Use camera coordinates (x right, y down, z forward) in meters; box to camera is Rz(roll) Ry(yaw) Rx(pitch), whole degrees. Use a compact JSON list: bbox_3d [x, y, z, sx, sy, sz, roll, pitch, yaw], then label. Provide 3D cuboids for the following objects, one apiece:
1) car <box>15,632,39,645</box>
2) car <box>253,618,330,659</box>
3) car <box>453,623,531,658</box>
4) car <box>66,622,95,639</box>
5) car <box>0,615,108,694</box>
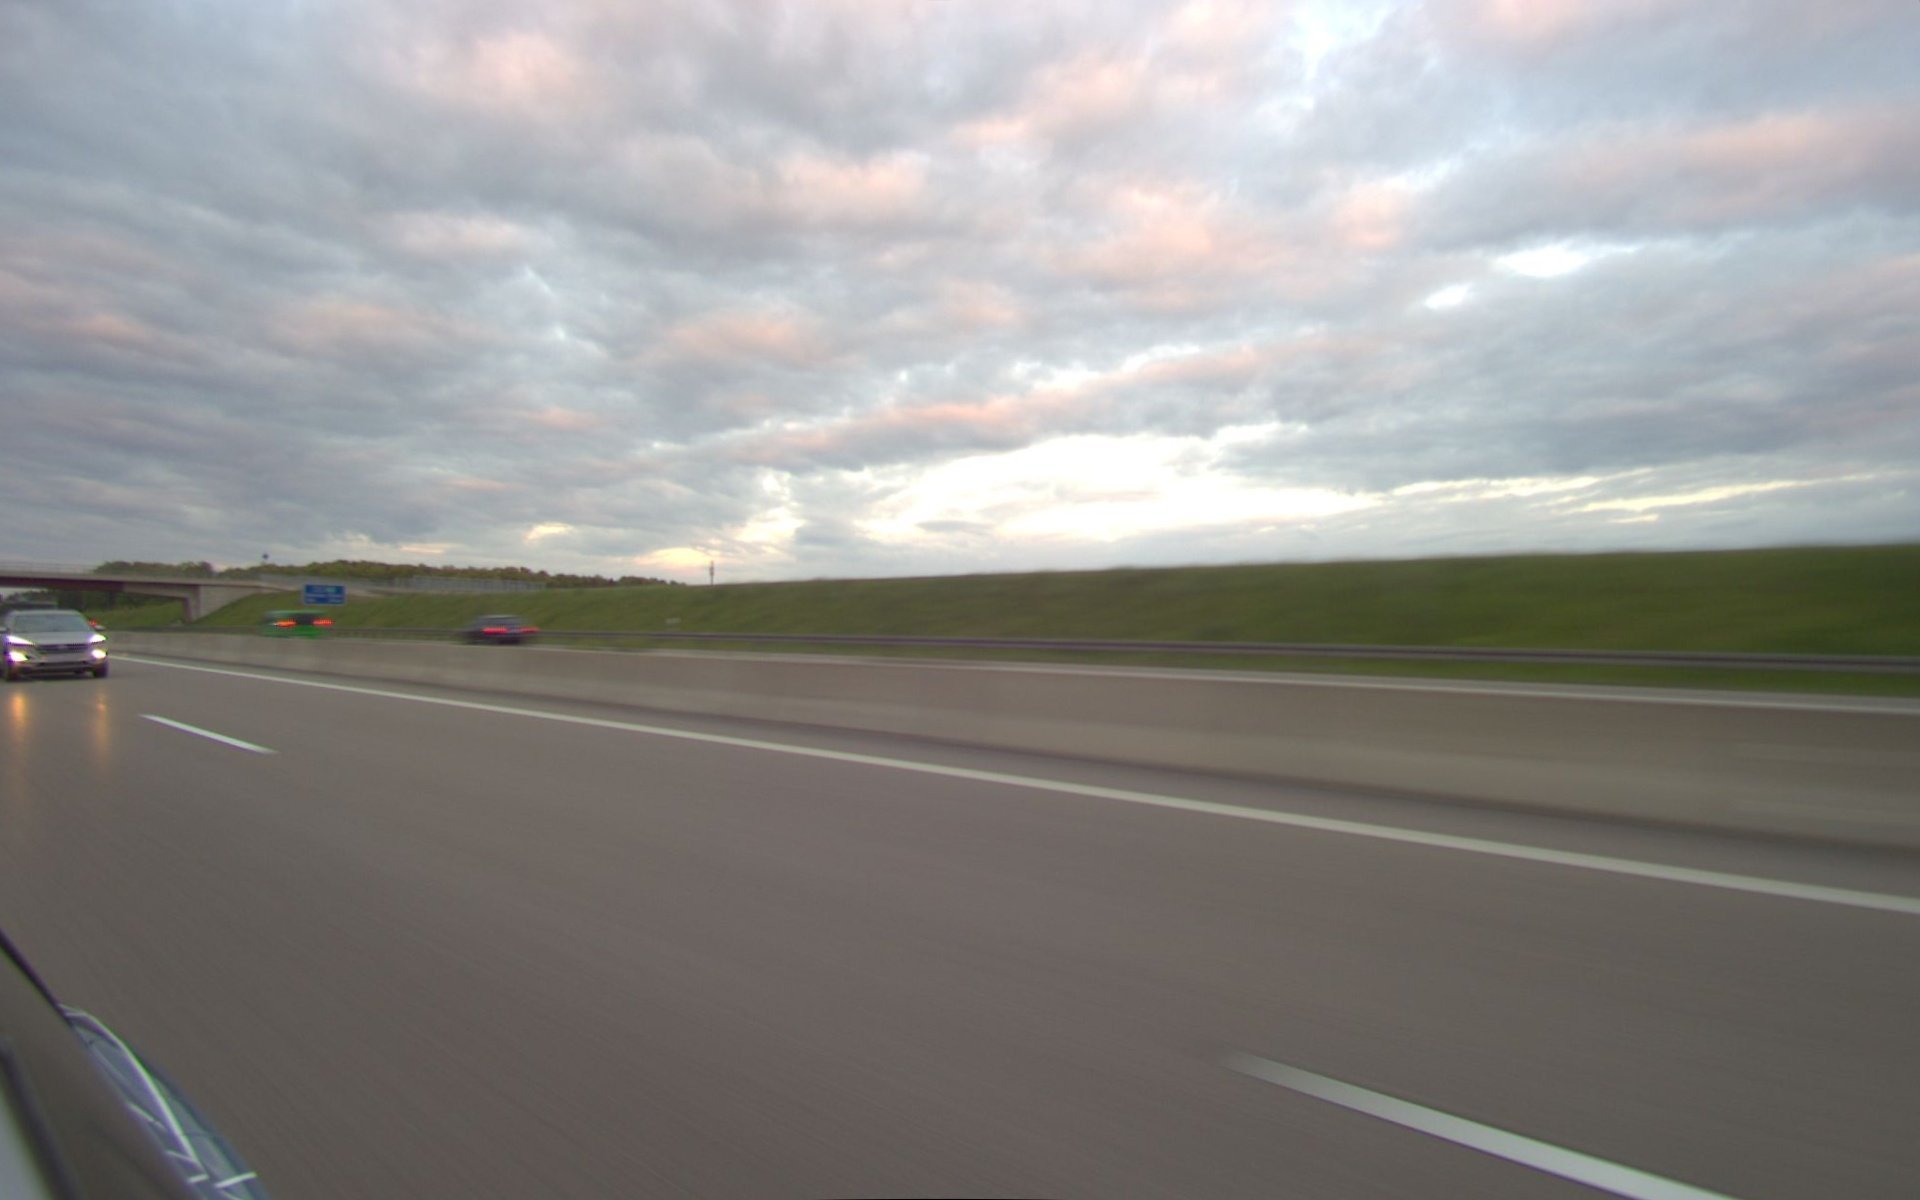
[{"bbox_3d":[-105.253,4.341,114.129,4.673,1.446,1.790,-2,-2,45],"label":"car"},{"bbox_3d":[-35.547,2.015,53.739,5.734,2.029,1.982,-2,-2,41],"label":"car"},{"bbox_3d":[-21.668,1.851,46.761,4.424,1.529,1.613,-2,-1,41],"label":"car"},{"bbox_3d":[-106.795,3.726,122.902,5.088,1.951,1.973,-2,-1,42],"label":"car"},{"bbox_3d":[-22.539,1.246,24.773,5.510,1.705,1.833,-1,-1,42],"label":"car"}]
